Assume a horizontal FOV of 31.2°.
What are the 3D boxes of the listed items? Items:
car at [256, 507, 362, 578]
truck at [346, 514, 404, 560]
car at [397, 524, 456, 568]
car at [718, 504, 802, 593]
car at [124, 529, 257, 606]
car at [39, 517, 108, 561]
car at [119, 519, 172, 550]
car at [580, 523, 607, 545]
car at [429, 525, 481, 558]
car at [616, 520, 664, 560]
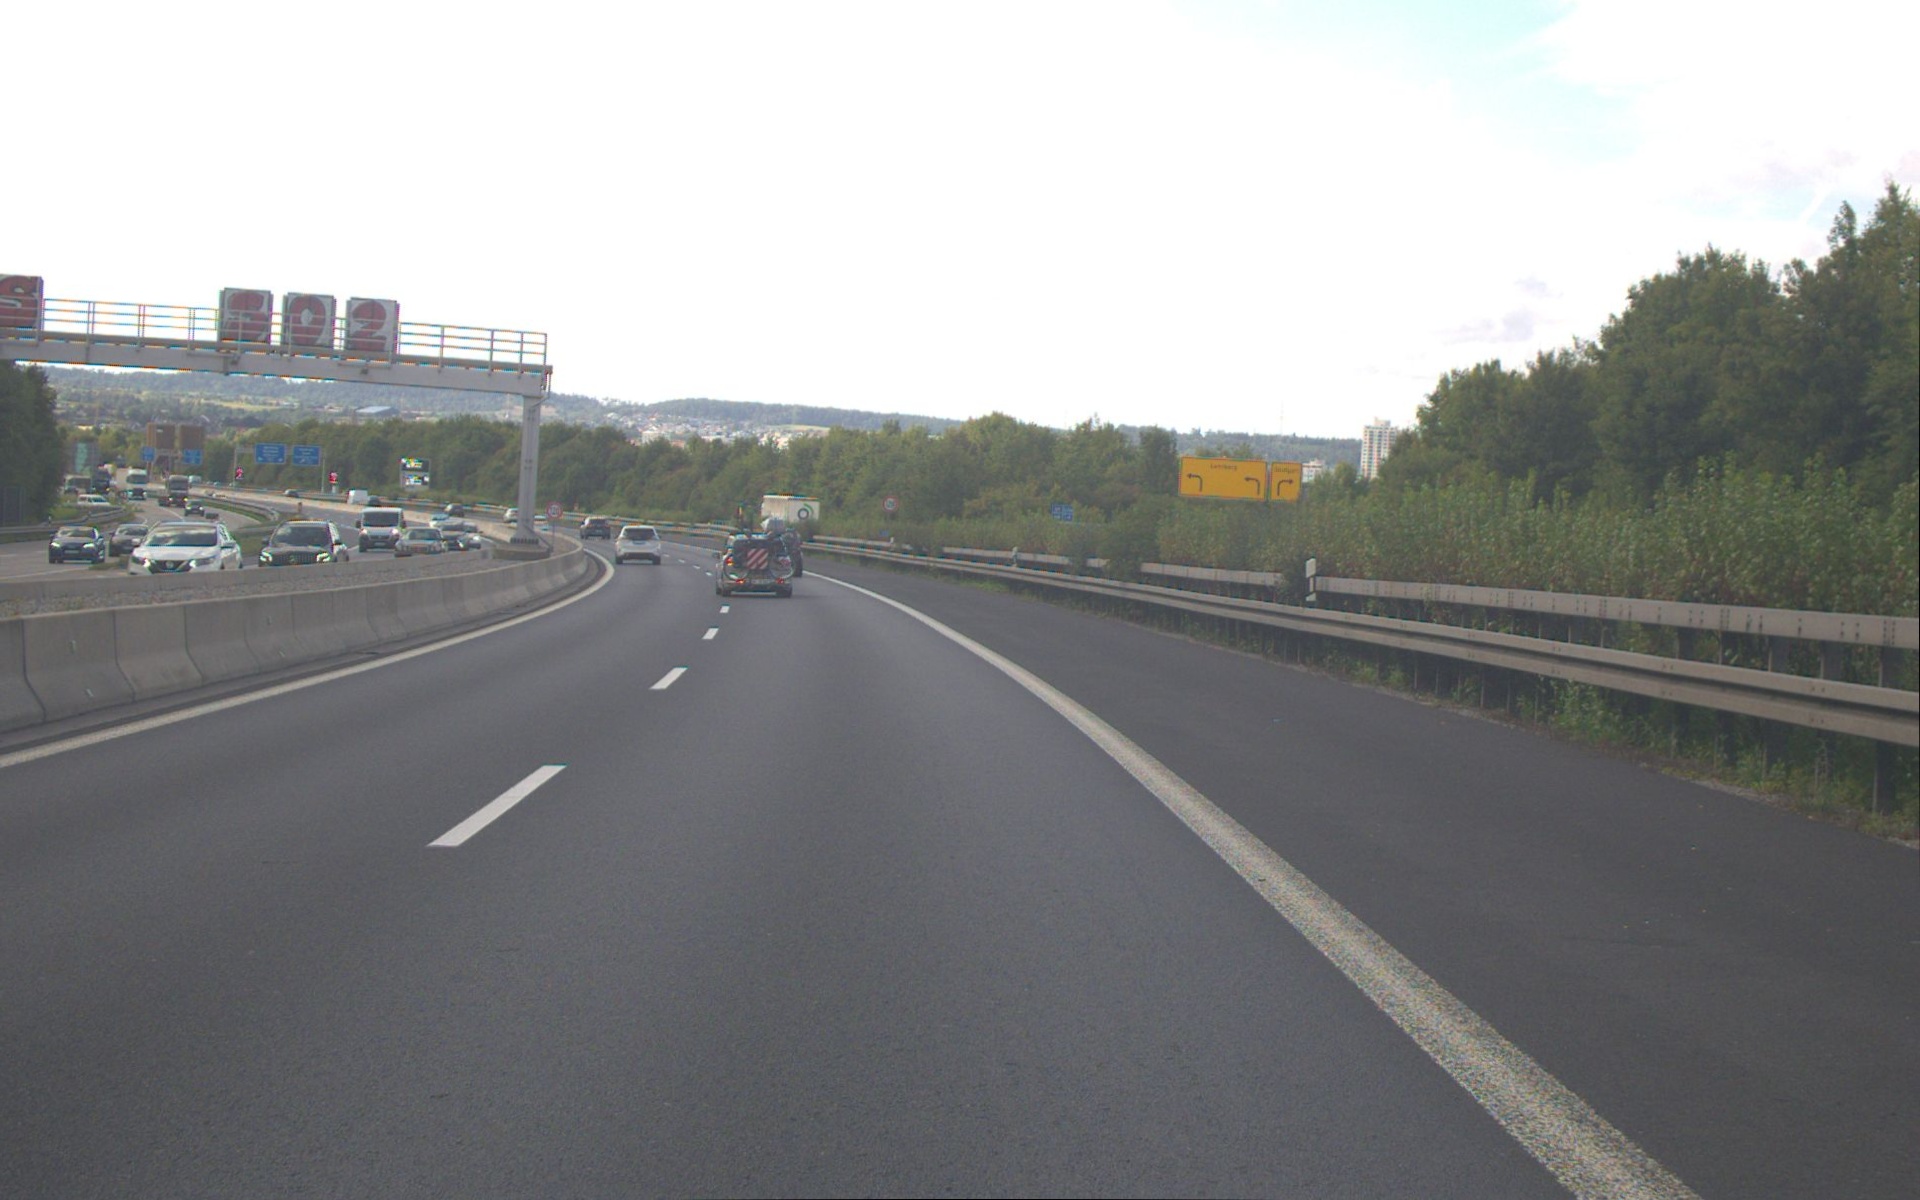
[{"bbox_3d":[-16.158,-1.433,85.499,1.876,1.692,4.315,1,1,-1],"label":"car"},{"bbox_3d":[-29.025,-3.117,170.716,2.183,2.218,5.572,1,1,-4],"label":"truck"},{"bbox_3d":[-19.452,-1.974,125.489,1.698,1.534,4.502,1,1,-4],"label":"car"},{"bbox_3d":[-5.058,-1.328,87.363,2.030,2.144,4.001,1,2,-2],"label":"car"},{"bbox_3d":[-15.350,-0.668,68.783,1.760,1.455,4.296,1,1,-1],"label":"car"},{"bbox_3d":[-33.074,-2.284,128.352,1.804,1.568,4.559,1,1,-5],"label":"car"},{"bbox_3d":[-35.778,-2.900,151.074,1.822,1.307,4.188,1,1,-7],"label":"car"},{"bbox_3d":[-27.106,-4.882,254.062,1.604,1.552,4.001,1,0,-11],"label":"car"},{"bbox_3d":[-24.084,-2.803,164.054,1.993,1.531,5.286,1,1,-4],"label":"car"},{"bbox_3d":[-14.095,-2.631,151.193,1.993,1.678,4.001,1,0,-7],"label":"car"}]
